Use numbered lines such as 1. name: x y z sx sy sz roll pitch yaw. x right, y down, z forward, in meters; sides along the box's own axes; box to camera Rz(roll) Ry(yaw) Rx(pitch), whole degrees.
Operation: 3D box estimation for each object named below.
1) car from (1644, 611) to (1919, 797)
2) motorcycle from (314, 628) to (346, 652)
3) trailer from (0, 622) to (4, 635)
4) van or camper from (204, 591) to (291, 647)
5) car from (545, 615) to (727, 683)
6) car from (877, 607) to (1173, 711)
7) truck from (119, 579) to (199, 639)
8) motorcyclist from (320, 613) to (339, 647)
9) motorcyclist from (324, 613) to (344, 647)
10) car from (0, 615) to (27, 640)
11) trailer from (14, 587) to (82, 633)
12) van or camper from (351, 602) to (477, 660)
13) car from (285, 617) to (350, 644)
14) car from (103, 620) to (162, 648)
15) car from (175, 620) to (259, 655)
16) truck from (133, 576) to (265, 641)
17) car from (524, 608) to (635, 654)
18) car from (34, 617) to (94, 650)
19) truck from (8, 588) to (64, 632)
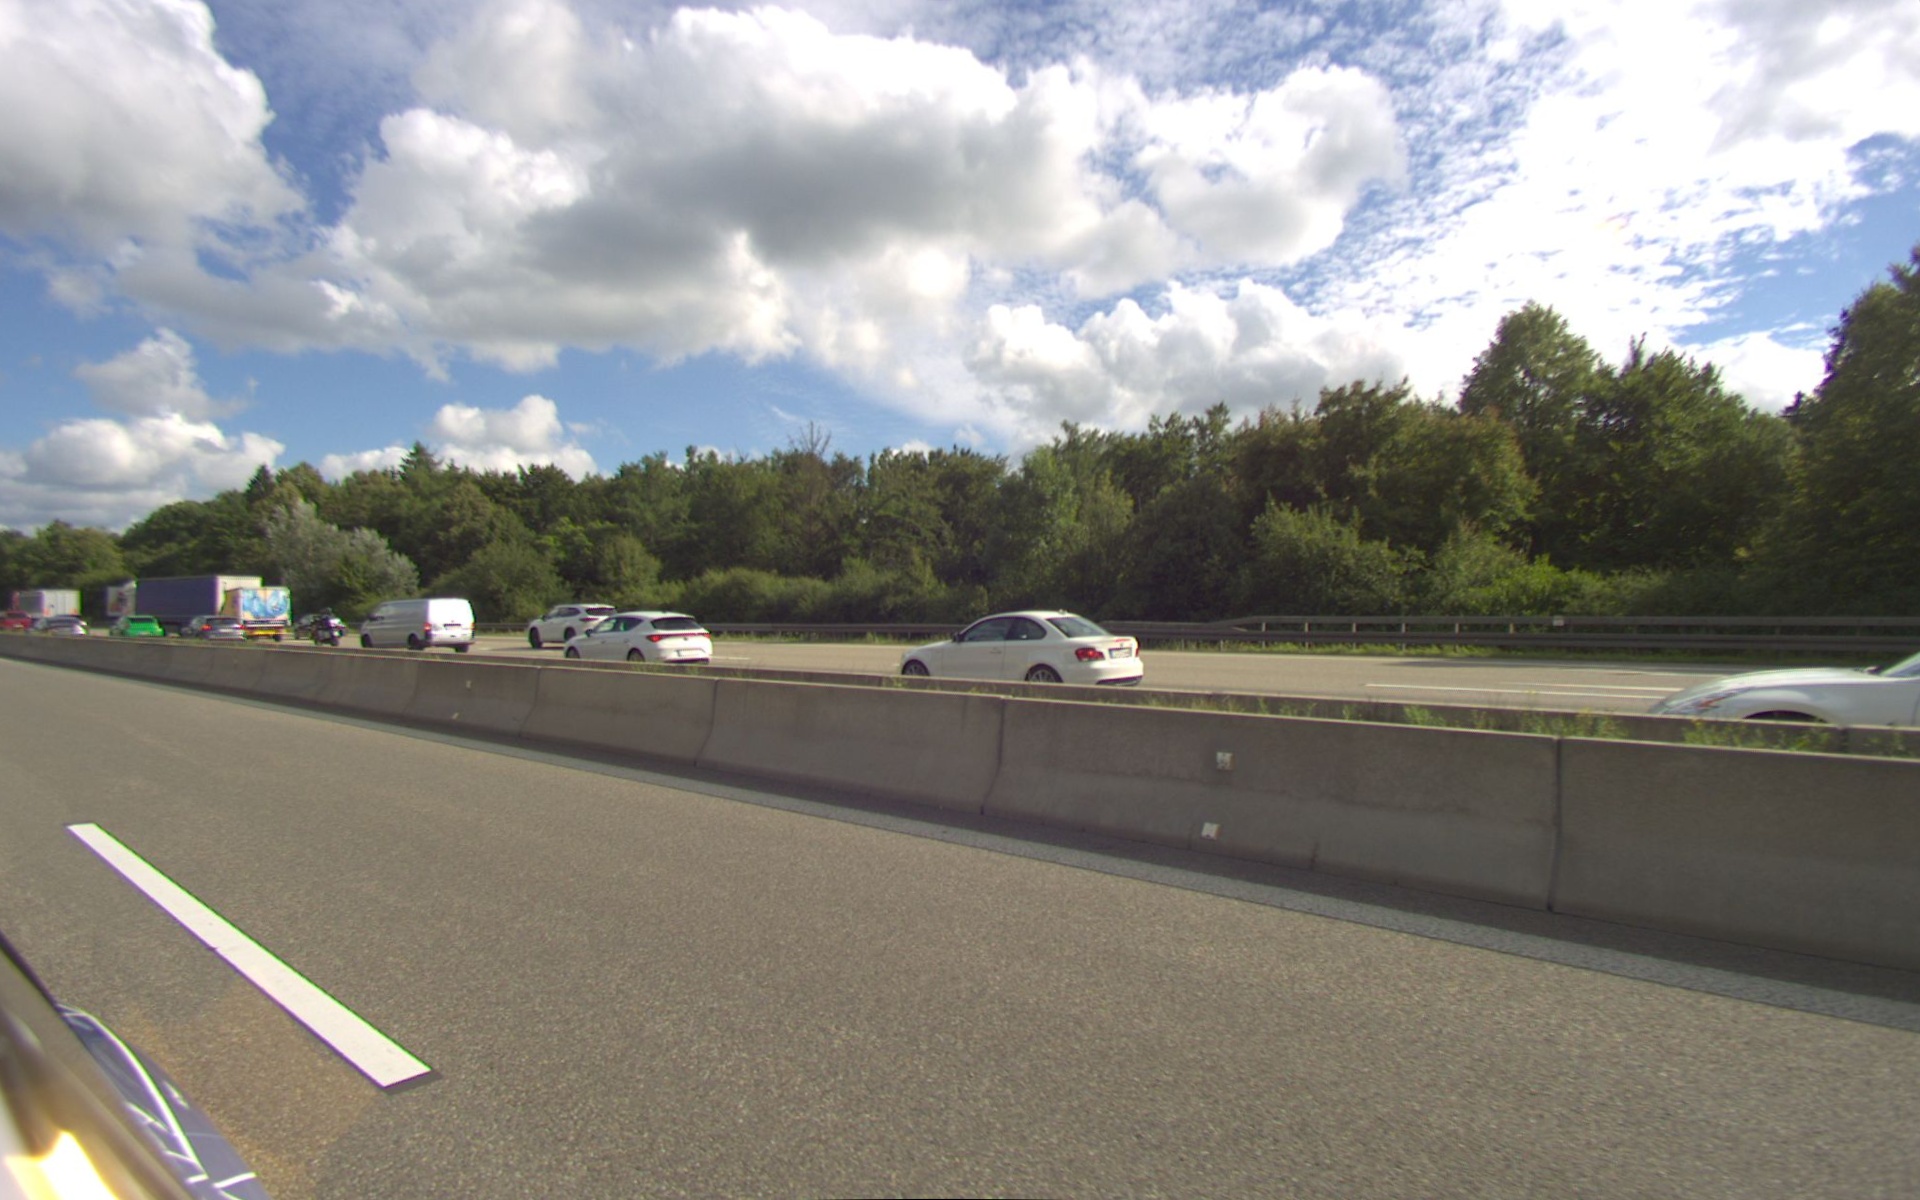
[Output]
1. car: 7.317 0.662 6.721 4.508 1.170 1.794 -1 -1 38
2. motorcycle: -28.032 1.766 45.015 2.174 1.048 0.603 -1 -1 41
3. trailer: -101.290 2.981 105.631 4.173 1.413 1.520 -1 -1 37
4. van or camper: -39.235 1.055 55.660 6.502 2.914 2.349 -1 -2 41
5. car: -7.566 1.075 23.406 4.686 1.405 1.752 -1 -1 39
6. car: 0.888 0.849 16.132 4.715 1.407 1.663 -1 -1 43
7. truck: -57.674 0.684 72.807 6.044 4.125 2.797 -1 -1 33
8. motorcyclist: -28.055 1.320 45.021 0.532 1.487 0.596 -1 0 41
9. motorcyclist: -27.599 1.316 44.625 0.532 1.487 0.596 -1 0 41
10. car: -77.701 2.230 82.423 5.029 1.955 1.828 -1 -2 40
11. trailer: -80.772 0.918 89.566 11.271 3.887 2.937 -1 -1 40
12. van or camper: -19.873 1.100 36.712 5.449 1.952 1.975 -1 -1 38
13. car: -38.059 1.785 59.902 4.400 1.482 2.033 -1 -1 40
14. car: -45.874 1.872 56.055 4.327 1.482 1.765 -1 -2 40
15. car: -34.458 1.697 46.869 4.783 1.482 2.149 -1 -1 41
16. truck: -52.187 0.634 69.177 13.805 4.125 2.796 -1 -1 34
17. car: -15.192 1.197 40.284 4.783 1.696 2.149 -1 -1 41
18. car: -45.827 1.669 51.721 4.661 1.564 1.843 -1 -1 42
19. truck: -85.084 0.957 93.168 6.759 3.887 2.937 -1 -1 40
